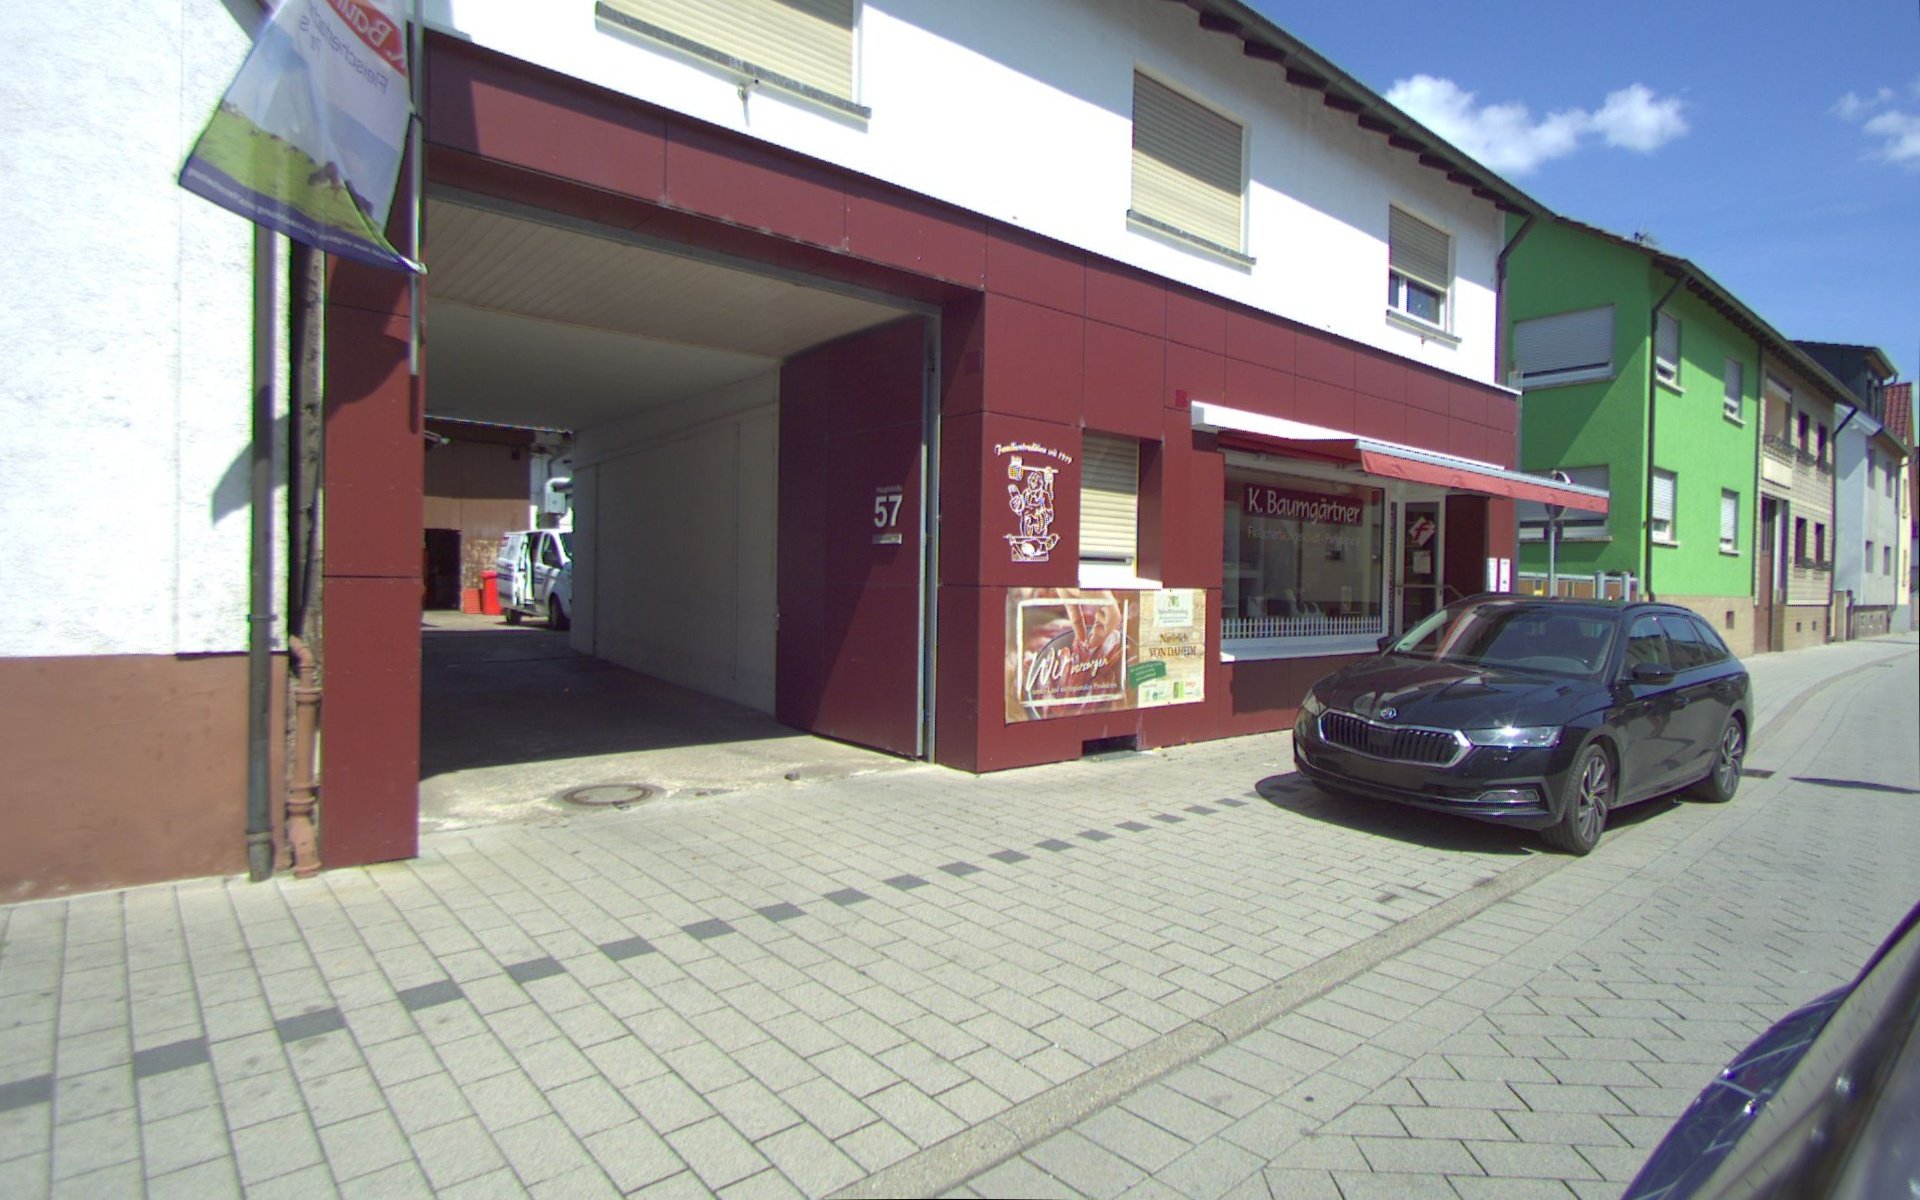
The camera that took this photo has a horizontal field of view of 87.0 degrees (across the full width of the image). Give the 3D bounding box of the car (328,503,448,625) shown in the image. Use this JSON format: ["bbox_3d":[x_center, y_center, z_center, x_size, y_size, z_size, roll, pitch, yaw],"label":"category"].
[{"bbox_3d":[-11.355,-0.669,19.983,1.449,2.172,3.741,0,1,-39],"label":"car"}]

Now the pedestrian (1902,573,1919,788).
[{"bbox_3d":[7.761,0.618,7.684,0.743,1.661,0.723,-1,0,32],"label":"pedestrian"}]

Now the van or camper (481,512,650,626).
[{"bbox_3d":[-8.156,-0.554,20.642,1.963,2.039,4.864,0,0,-37],"label":"van or camper"}]

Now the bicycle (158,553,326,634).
[{"bbox_3d":[-11.537,-0.120,16.319,2.132,1.221,0.656,0,2,-44],"label":"bicycle"}]

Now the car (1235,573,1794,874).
[{"bbox_3d":[4.174,0.610,7.309,4.502,1.477,1.864,0,3,-38],"label":"car"}]
